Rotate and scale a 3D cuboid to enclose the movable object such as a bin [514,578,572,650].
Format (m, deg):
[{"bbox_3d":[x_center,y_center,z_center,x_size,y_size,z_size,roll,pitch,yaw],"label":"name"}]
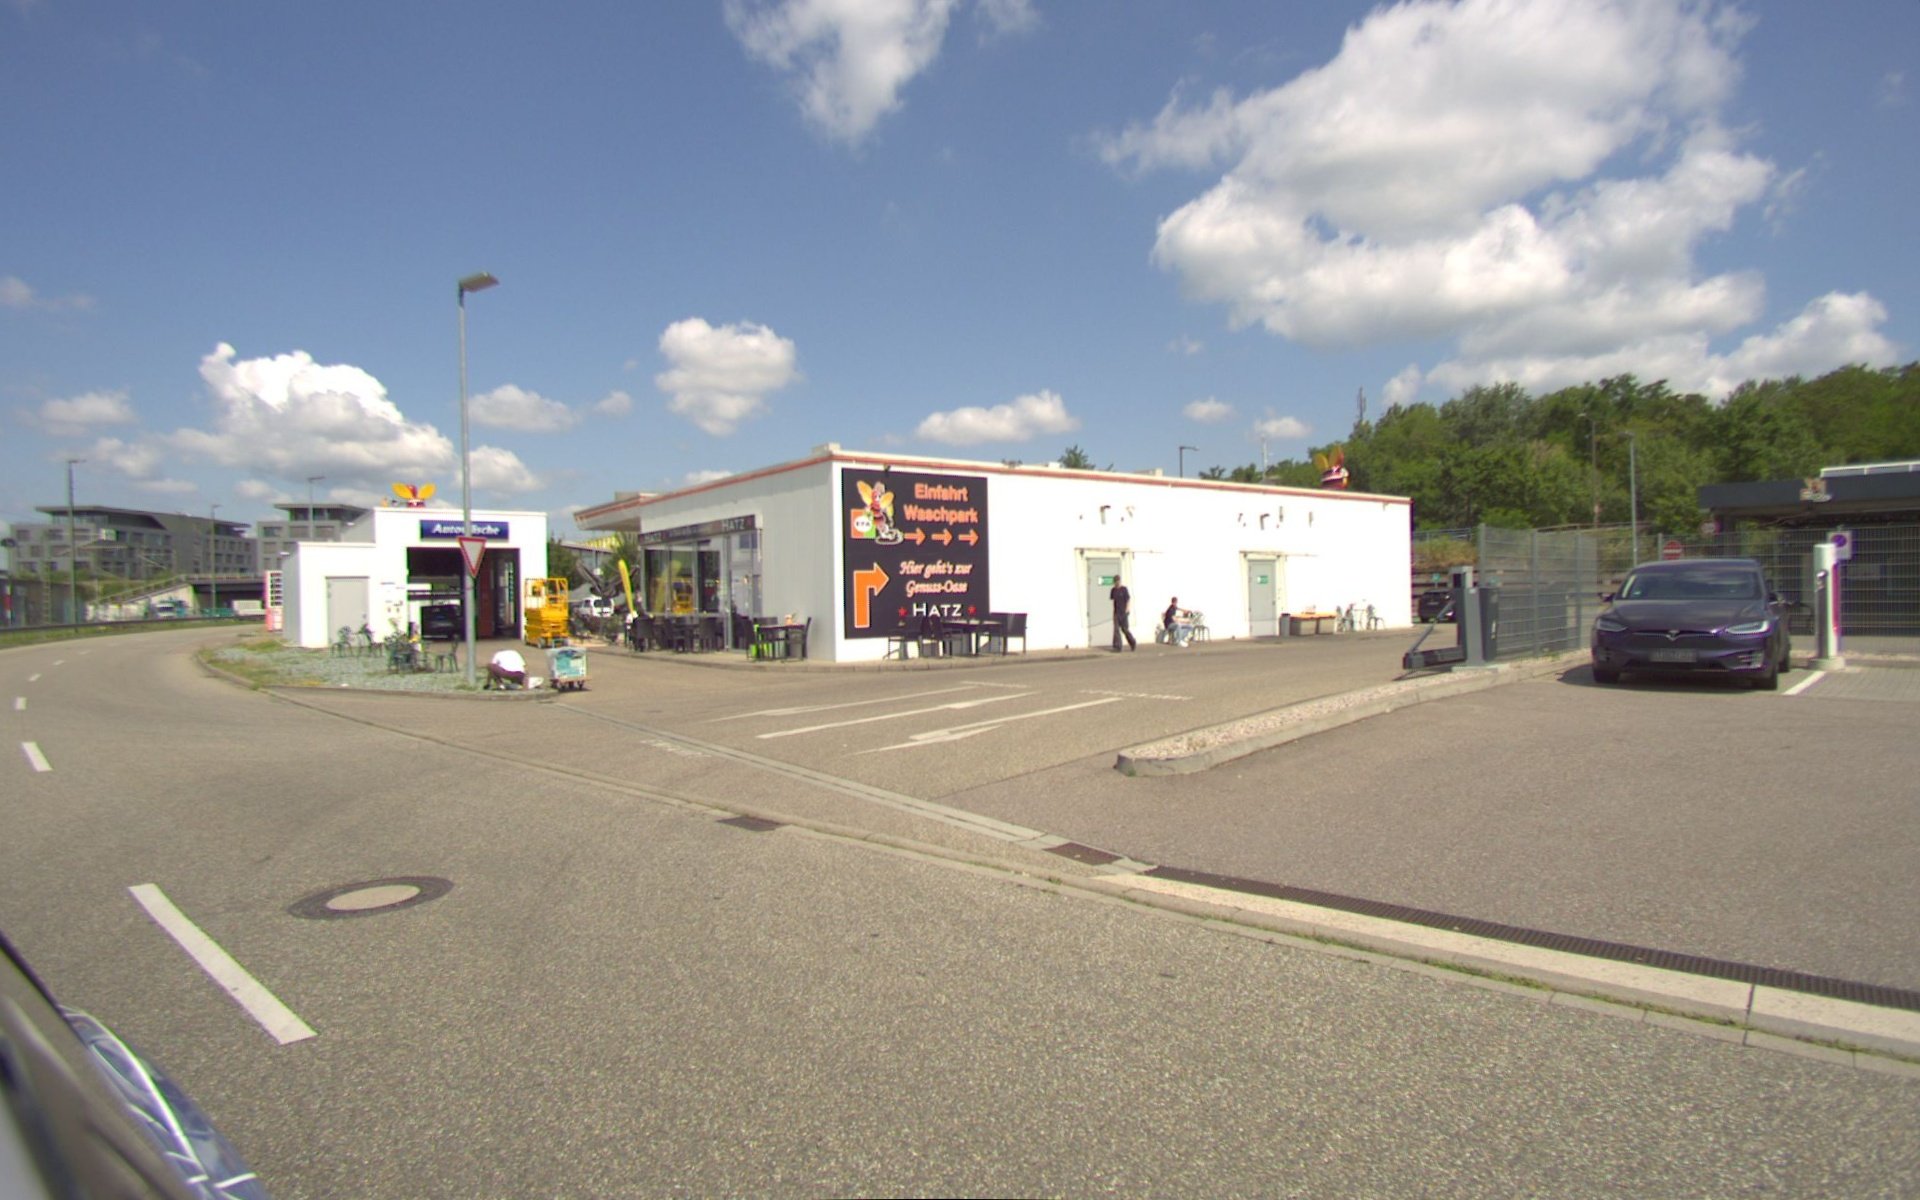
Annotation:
[{"bbox_3d":[-13.259,0.386,32.132,1.049,2.168,2.710,-1,2,-37],"label":"movable object such as a bin"}]

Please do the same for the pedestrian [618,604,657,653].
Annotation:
[{"bbox_3d":[-8.741,0.758,27.425,0.743,1.266,0.901,-2,0,-36],"label":"pedestrian"}]

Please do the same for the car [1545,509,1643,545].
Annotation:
[{"bbox_3d":[34.298,-3.923,54.765,4.368,1.663,1.975,0,0,37],"label":"car"}]

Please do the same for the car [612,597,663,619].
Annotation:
[{"bbox_3d":[-23.121,0.542,72.441,1.968,1.564,4.607,0,0,-38],"label":"car"}]

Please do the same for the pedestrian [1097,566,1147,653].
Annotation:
[{"bbox_3d":[3.890,0.206,24.295,0.863,2.029,0.929,1,2,36],"label":"pedestrian"}]

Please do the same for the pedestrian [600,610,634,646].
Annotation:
[{"bbox_3d":[-10.897,0.888,32.188,0.808,1.119,0.757,-1,0,-38],"label":"pedestrian"}]

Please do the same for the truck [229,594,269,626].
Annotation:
[{"bbox_3d":[-80.059,1.122,113.882,2.948,3.445,8.127,0,0,-40],"label":"truck"}]

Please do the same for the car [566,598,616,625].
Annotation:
[{"bbox_3d":[-25.700,0.754,70.444,1.968,1.791,4.607,0,0,-38],"label":"car"}]

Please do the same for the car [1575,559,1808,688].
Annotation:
[{"bbox_3d":[10.298,0.233,14.079,2.236,1.466,4.697,-1,0,41],"label":"car"}]

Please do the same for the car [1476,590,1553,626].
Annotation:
[{"bbox_3d":[24.843,0.338,45.260,4.138,1.522,1.833,0,-1,-43],"label":"car"}]

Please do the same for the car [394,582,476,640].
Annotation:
[{"bbox_3d":[-20.561,0.403,39.505,1.968,2.125,5.020,0,0,-38],"label":"car"}]

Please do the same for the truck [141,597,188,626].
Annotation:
[{"bbox_3d":[-103.138,1.467,131.198,6.869,3.672,2.626,0,2,34],"label":"truck"}]

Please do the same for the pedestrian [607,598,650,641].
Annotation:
[{"bbox_3d":[-10.301,0.601,31.422,0.863,1.317,0.929,-1,0,36],"label":"pedestrian"}]

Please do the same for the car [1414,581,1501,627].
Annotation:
[{"bbox_3d":[23.283,0.173,47.334,3.934,2.029,2.005,0,0,-36],"label":"car"}]

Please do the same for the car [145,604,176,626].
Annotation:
[{"bbox_3d":[-96.477,1.756,122.113,5.883,2.545,2.037,0,2,44],"label":"car"}]

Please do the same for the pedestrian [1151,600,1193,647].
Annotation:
[{"bbox_3d":[5.568,0.607,26.582,0.841,1.174,0.703,2,2,36],"label":"pedestrian"}]

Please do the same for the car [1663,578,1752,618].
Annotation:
[{"bbox_3d":[29.685,-0.092,40.152,3.936,1.517,1.893,0,0,-39],"label":"car"}]

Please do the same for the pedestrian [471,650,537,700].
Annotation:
[{"bbox_3d":[-7.990,1.300,17.728,0.851,0.765,0.819,-3,1,-39],"label":"pedestrian"}]

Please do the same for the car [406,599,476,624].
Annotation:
[{"bbox_3d":[-39.587,0.894,77.250,4.355,1.846,1.999,0,0,2],"label":"car"}]
